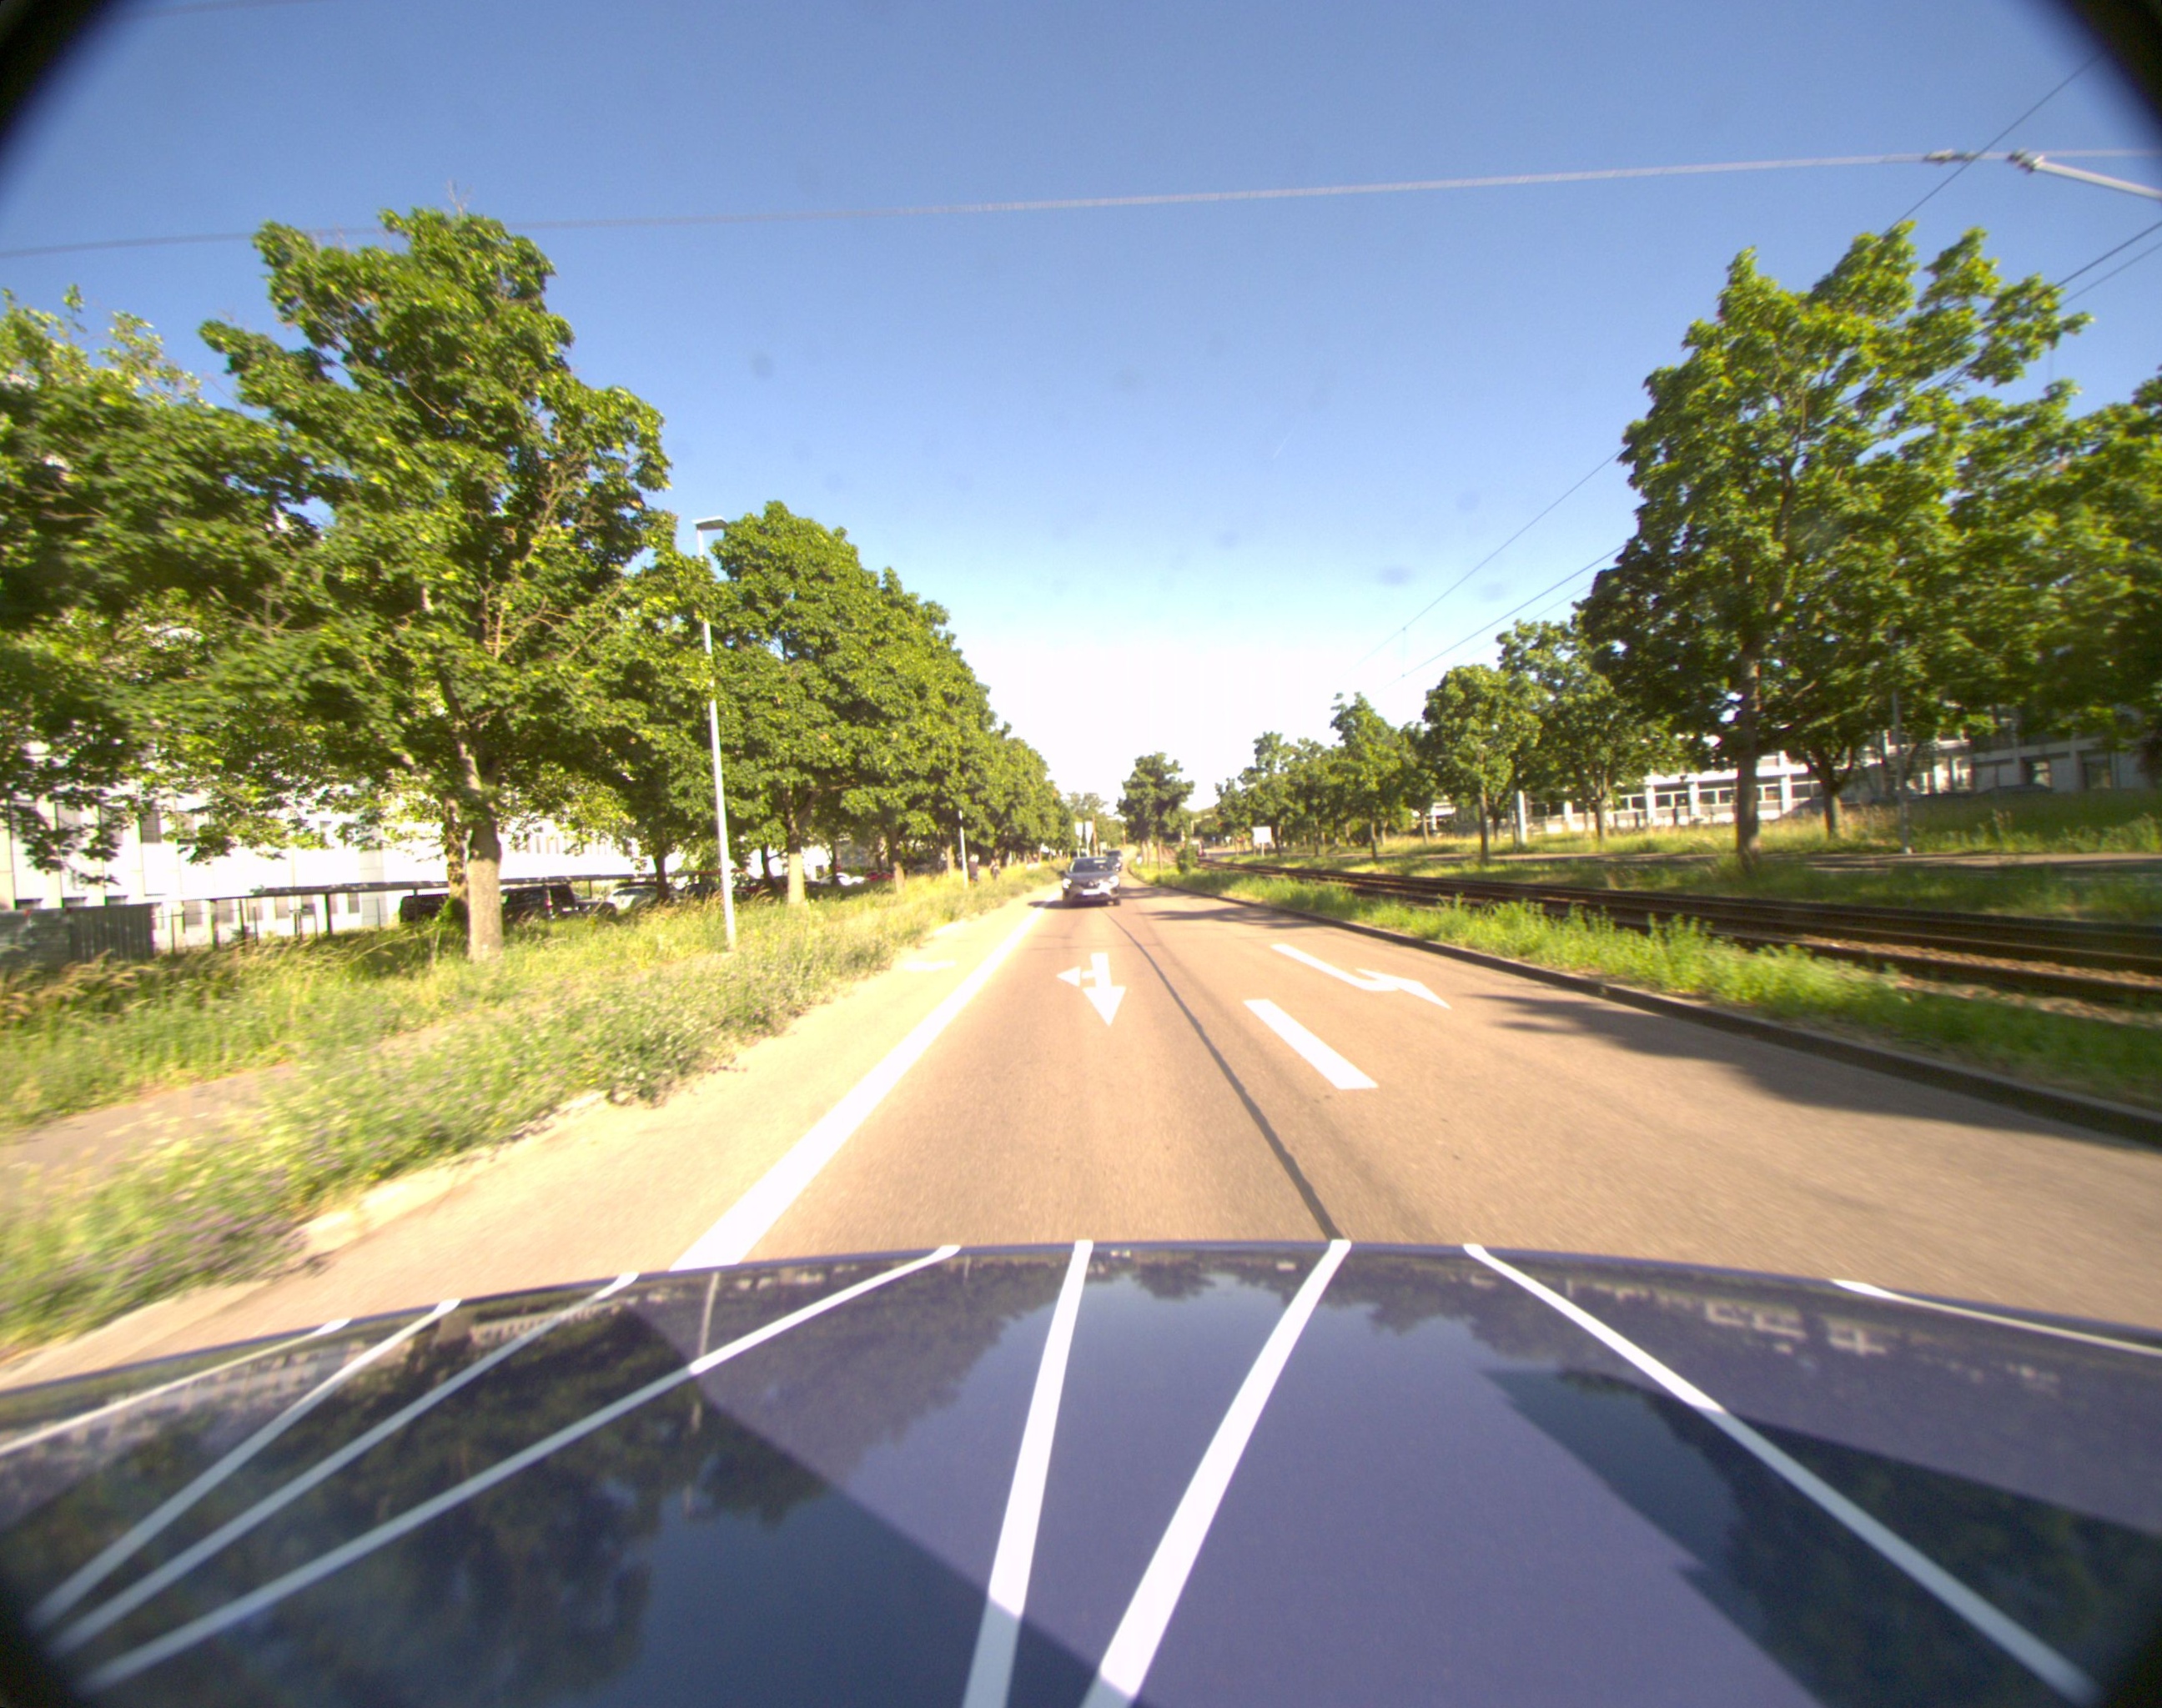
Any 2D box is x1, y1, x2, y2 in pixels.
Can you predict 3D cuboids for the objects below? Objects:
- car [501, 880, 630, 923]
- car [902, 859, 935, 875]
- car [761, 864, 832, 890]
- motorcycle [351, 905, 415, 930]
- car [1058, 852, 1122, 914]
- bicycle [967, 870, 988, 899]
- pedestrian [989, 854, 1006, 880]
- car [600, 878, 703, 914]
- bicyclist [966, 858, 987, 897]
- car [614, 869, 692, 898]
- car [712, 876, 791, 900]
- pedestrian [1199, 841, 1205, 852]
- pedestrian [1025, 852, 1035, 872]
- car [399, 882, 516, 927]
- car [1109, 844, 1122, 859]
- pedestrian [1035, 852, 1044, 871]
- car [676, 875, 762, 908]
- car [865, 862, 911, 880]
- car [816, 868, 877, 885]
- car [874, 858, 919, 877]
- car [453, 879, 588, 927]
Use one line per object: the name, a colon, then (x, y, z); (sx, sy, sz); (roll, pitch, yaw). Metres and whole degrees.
car: (-21.806, 2.012, 32.226); (4.365, 1.450, 1.689); (-4, 1, 6)
car: (-19.165, 1.511, 89.695); (3.977, 1.629, 1.726); (-4, 1, 43)
car: (-20.587, 1.659, 55.105); (4.403, 1.587, 1.884); (-4, 1, 0)
motorcycle: (-45.418, 4.133, 49.473); (3.042, 1.313, 1.016); (-4, 1, -3)
car: (0.360, 0.824, 23.832); (1.750, 1.585, 4.247); (-4, 1, 3)
bicycle: (-4.734, 1.367, 34.789); (0.484, 1.197, 2.144); (-4, 0, 3)
pedestrian: (-5.344, 0.816, 48.620); (0.826, 1.560, 0.762); (-4, 1, 4)
car: (-21.758, 2.128, 38.571); (4.174, 1.423, 1.825); (-4, 1, 6)
bicyclist: (-4.769, 1.048, 34.743); (0.684, 1.710, 0.902); (-4, 2, 3)
car: (-32.708, 2.241, 58.151); (4.760, 1.938, 1.974); (-3, 0, 2)
car: (-21.764, 2.212, 50.280); (4.301, 1.316, 1.941); (-3, -1, 7)
pedestrian: (20.156, -1.293, 126.790); (0.785, 1.741, 0.782); (-4, 1, 3)
pedestrian: (-5.172, 0.827, 77.220); (0.709, 1.919, 0.816); (-4, 1, 2)
car: (-33.153, 2.672, 40.463); (4.595, 2.002, 1.958); (-4, 1, 4)
car: (4.288, -0.275, 94.468); (1.555, 1.765, 3.457); (-3, 1, 3)
pedestrian: (-4.195, 0.771, 77.305); (0.709, 1.907, 0.817); (-4, 1, 4)
car: (-20.712, 2.142, 43.535); (4.004, 1.516, 1.706); (-4, 1, 0)
car: (-19.673, 1.726, 77.710); (4.243, 1.527, 1.765); (-3, 0, -6)
car: (-20.462, 1.954, 66.456); (4.709, 1.263, 1.808); (-3, -1, 0)
car: (-19.500, 1.430, 80.251); (4.348, 1.690, 1.765); (-3, 1, -6)
car: (-22.140, 1.920, 30.118); (4.039, 1.496, 1.738); (-4, 1, 3)
